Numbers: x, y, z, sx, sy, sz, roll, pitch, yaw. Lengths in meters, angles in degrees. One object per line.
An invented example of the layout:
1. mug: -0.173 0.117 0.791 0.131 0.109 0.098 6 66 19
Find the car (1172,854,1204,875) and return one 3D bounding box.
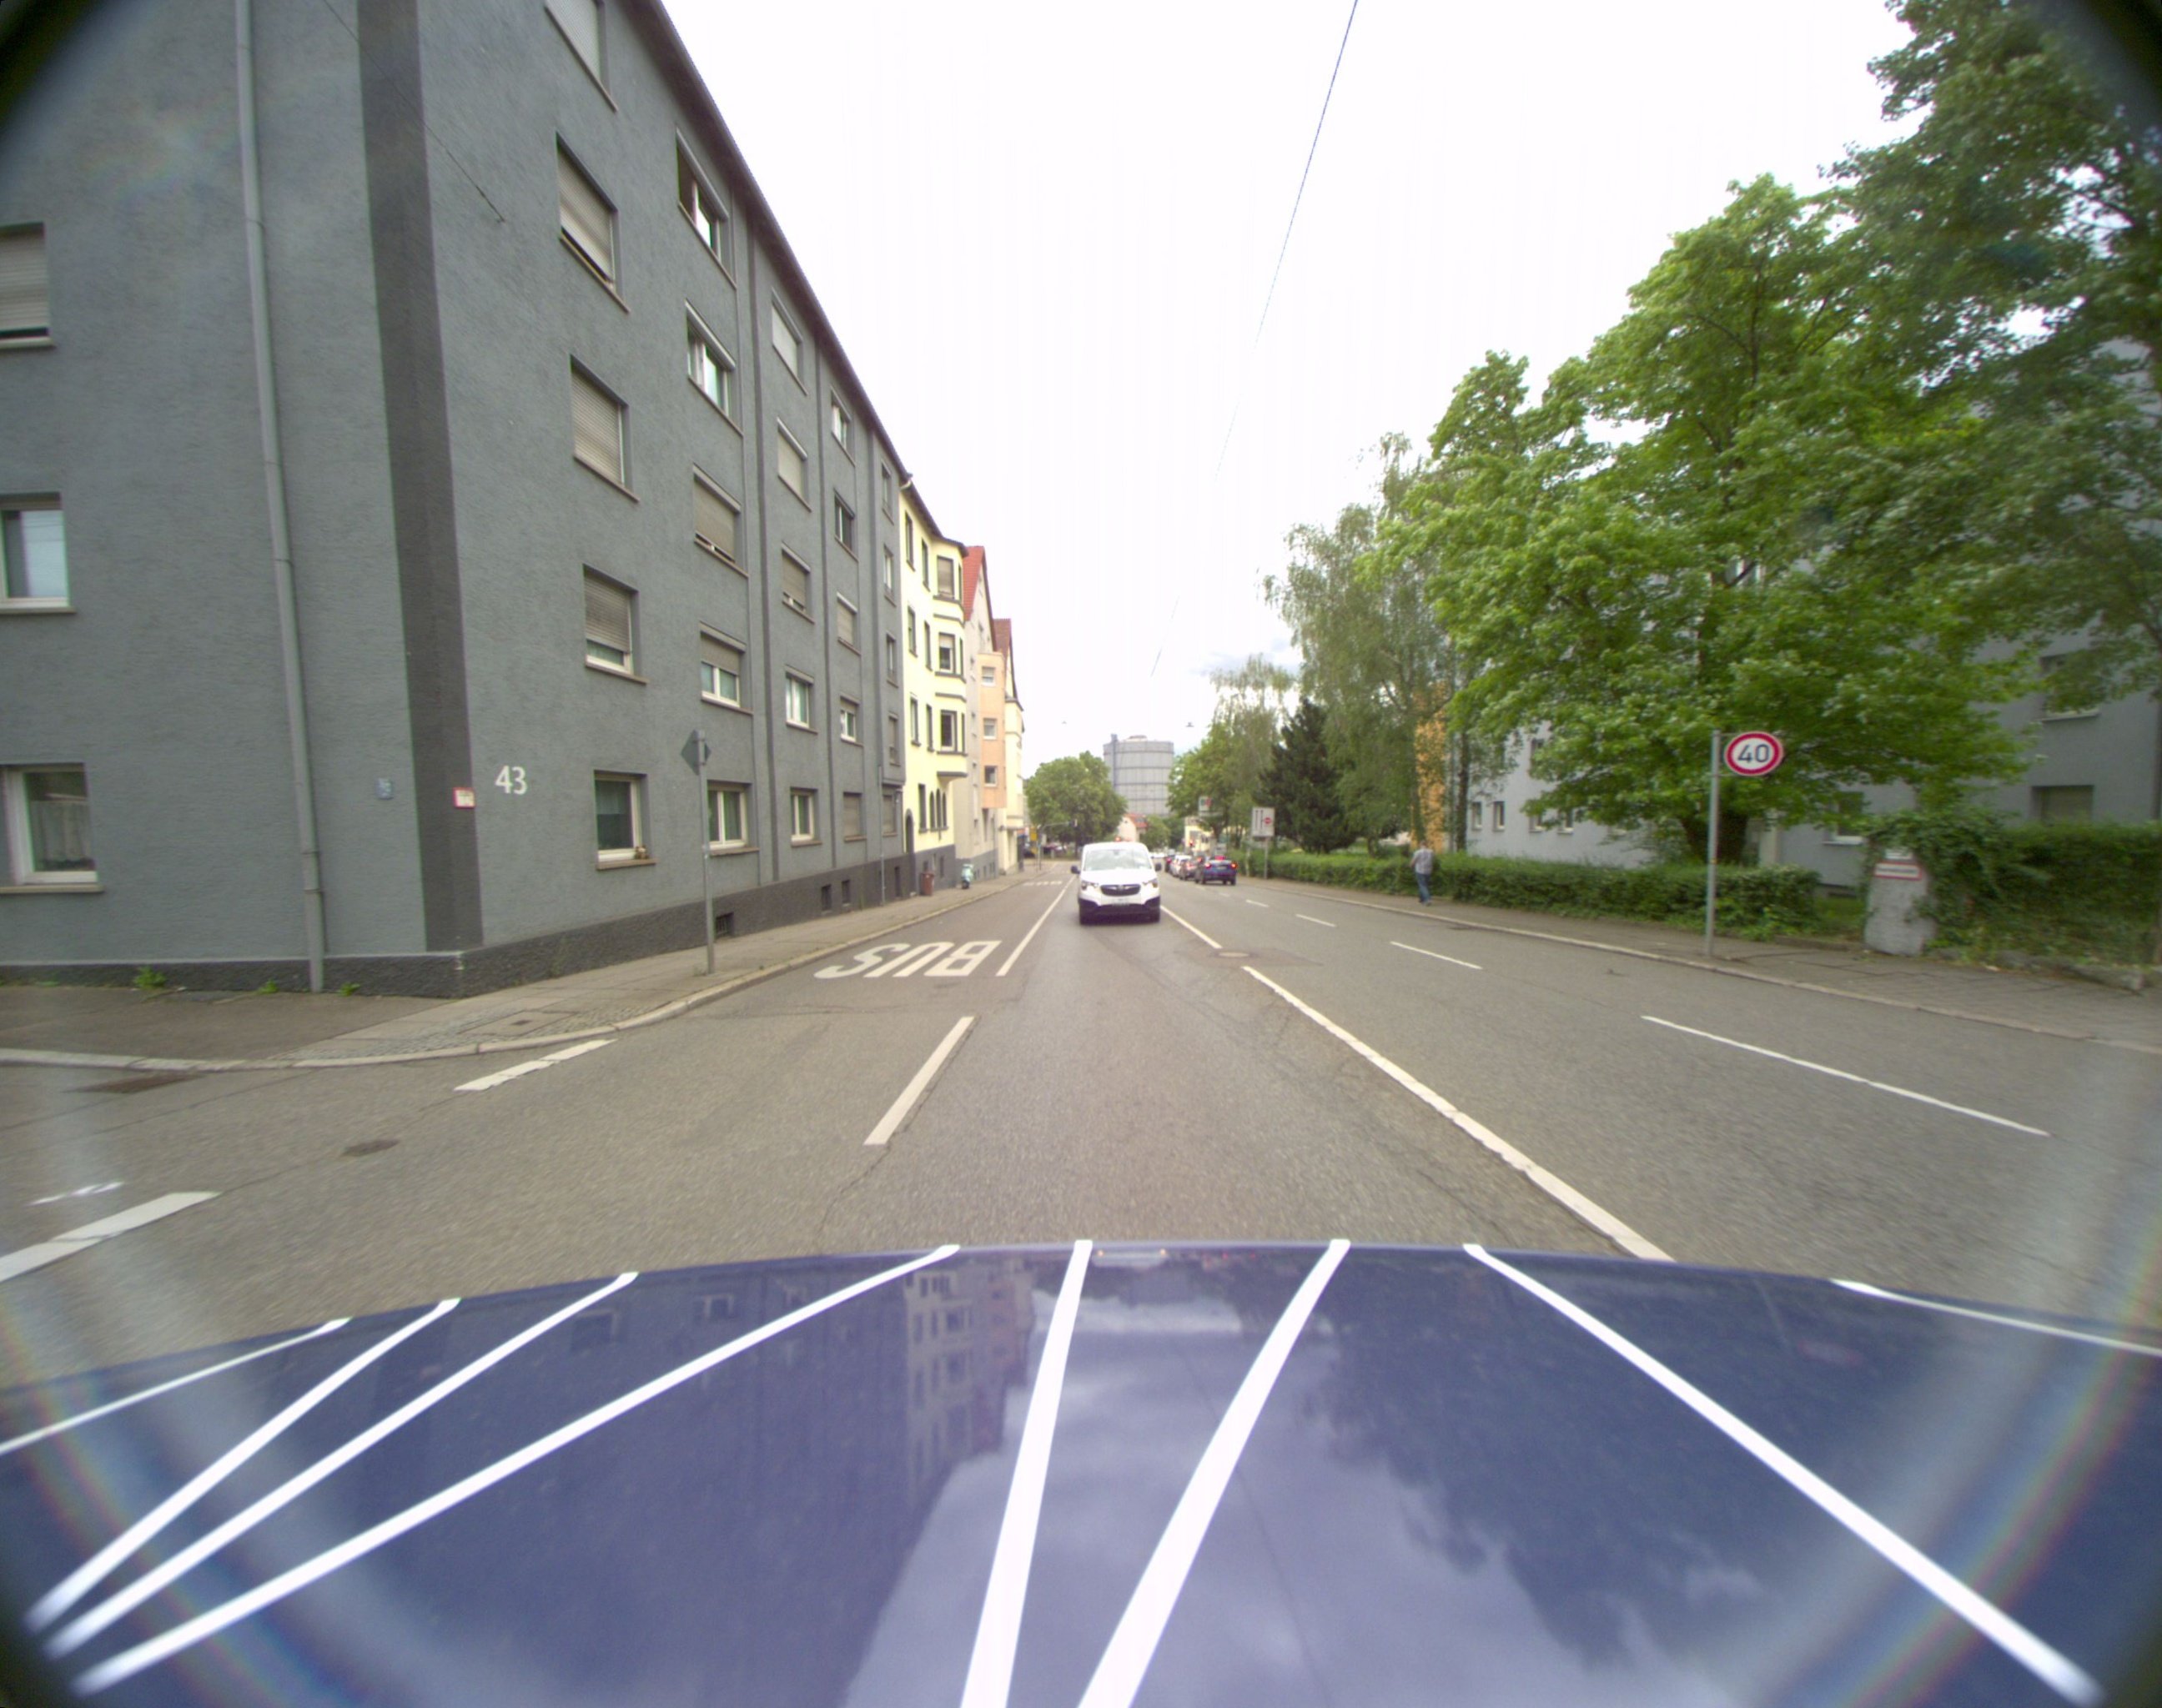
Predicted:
1. car: 7.678 0.726 54.821 1.843 1.404 4.074 2 1 2

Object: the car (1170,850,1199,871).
1. car: 8.300 0.488 61.261 1.956 1.584 4.499 2 1 3

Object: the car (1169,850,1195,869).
1. car: 8.993 0.473 67.982 1.955 1.633 4.414 2 1 4

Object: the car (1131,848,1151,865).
1. car: 5.910 0.224 74.889 1.779 1.538 4.326 -3 0 5

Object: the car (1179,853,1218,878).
1. car: 7.312 0.706 47.771 1.843 1.439 4.311 1 0 1

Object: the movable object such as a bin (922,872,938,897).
1. movable object such as a bin: -5.733 1.157 28.895 0.476 0.887 0.517 2 1 0

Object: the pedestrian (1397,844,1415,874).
1. pedestrian: 18.820 0.299 44.046 0.724 1.743 0.794 -1 -3 6

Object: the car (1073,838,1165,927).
1. car: 0.871 0.593 18.226 1.888 1.827 4.677 -1 0 2

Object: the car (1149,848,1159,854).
1. car: 18.989 -0.740 196.875 1.996 1.590 4.004 -2 0 13

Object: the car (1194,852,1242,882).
1. car: 7.162 0.653 40.094 1.843 1.439 4.311 1 0 1

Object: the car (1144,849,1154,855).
1. car: 16.756 -0.498 187.315 1.996 1.590 4.004 -2 0 13

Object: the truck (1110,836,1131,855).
1. truck: 7.683 -1.722 146.980 2.769 3.482 8.177 -2 1 12

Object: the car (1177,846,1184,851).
1. car: 33.562 -1.985 256.770 1.996 1.590 4.004 -2 0 13

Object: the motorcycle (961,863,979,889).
1. motorcycle: -5.236 1.007 35.891 0.539 1.149 2.226 2 0 -2

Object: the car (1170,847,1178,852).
1. car: 29.001 -1.435 236.737 1.996 1.590 4.004 -2 0 13

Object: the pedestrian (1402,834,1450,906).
1. pedestrian: 9.714 0.452 21.438 0.884 1.938 0.867 -3 1 0
